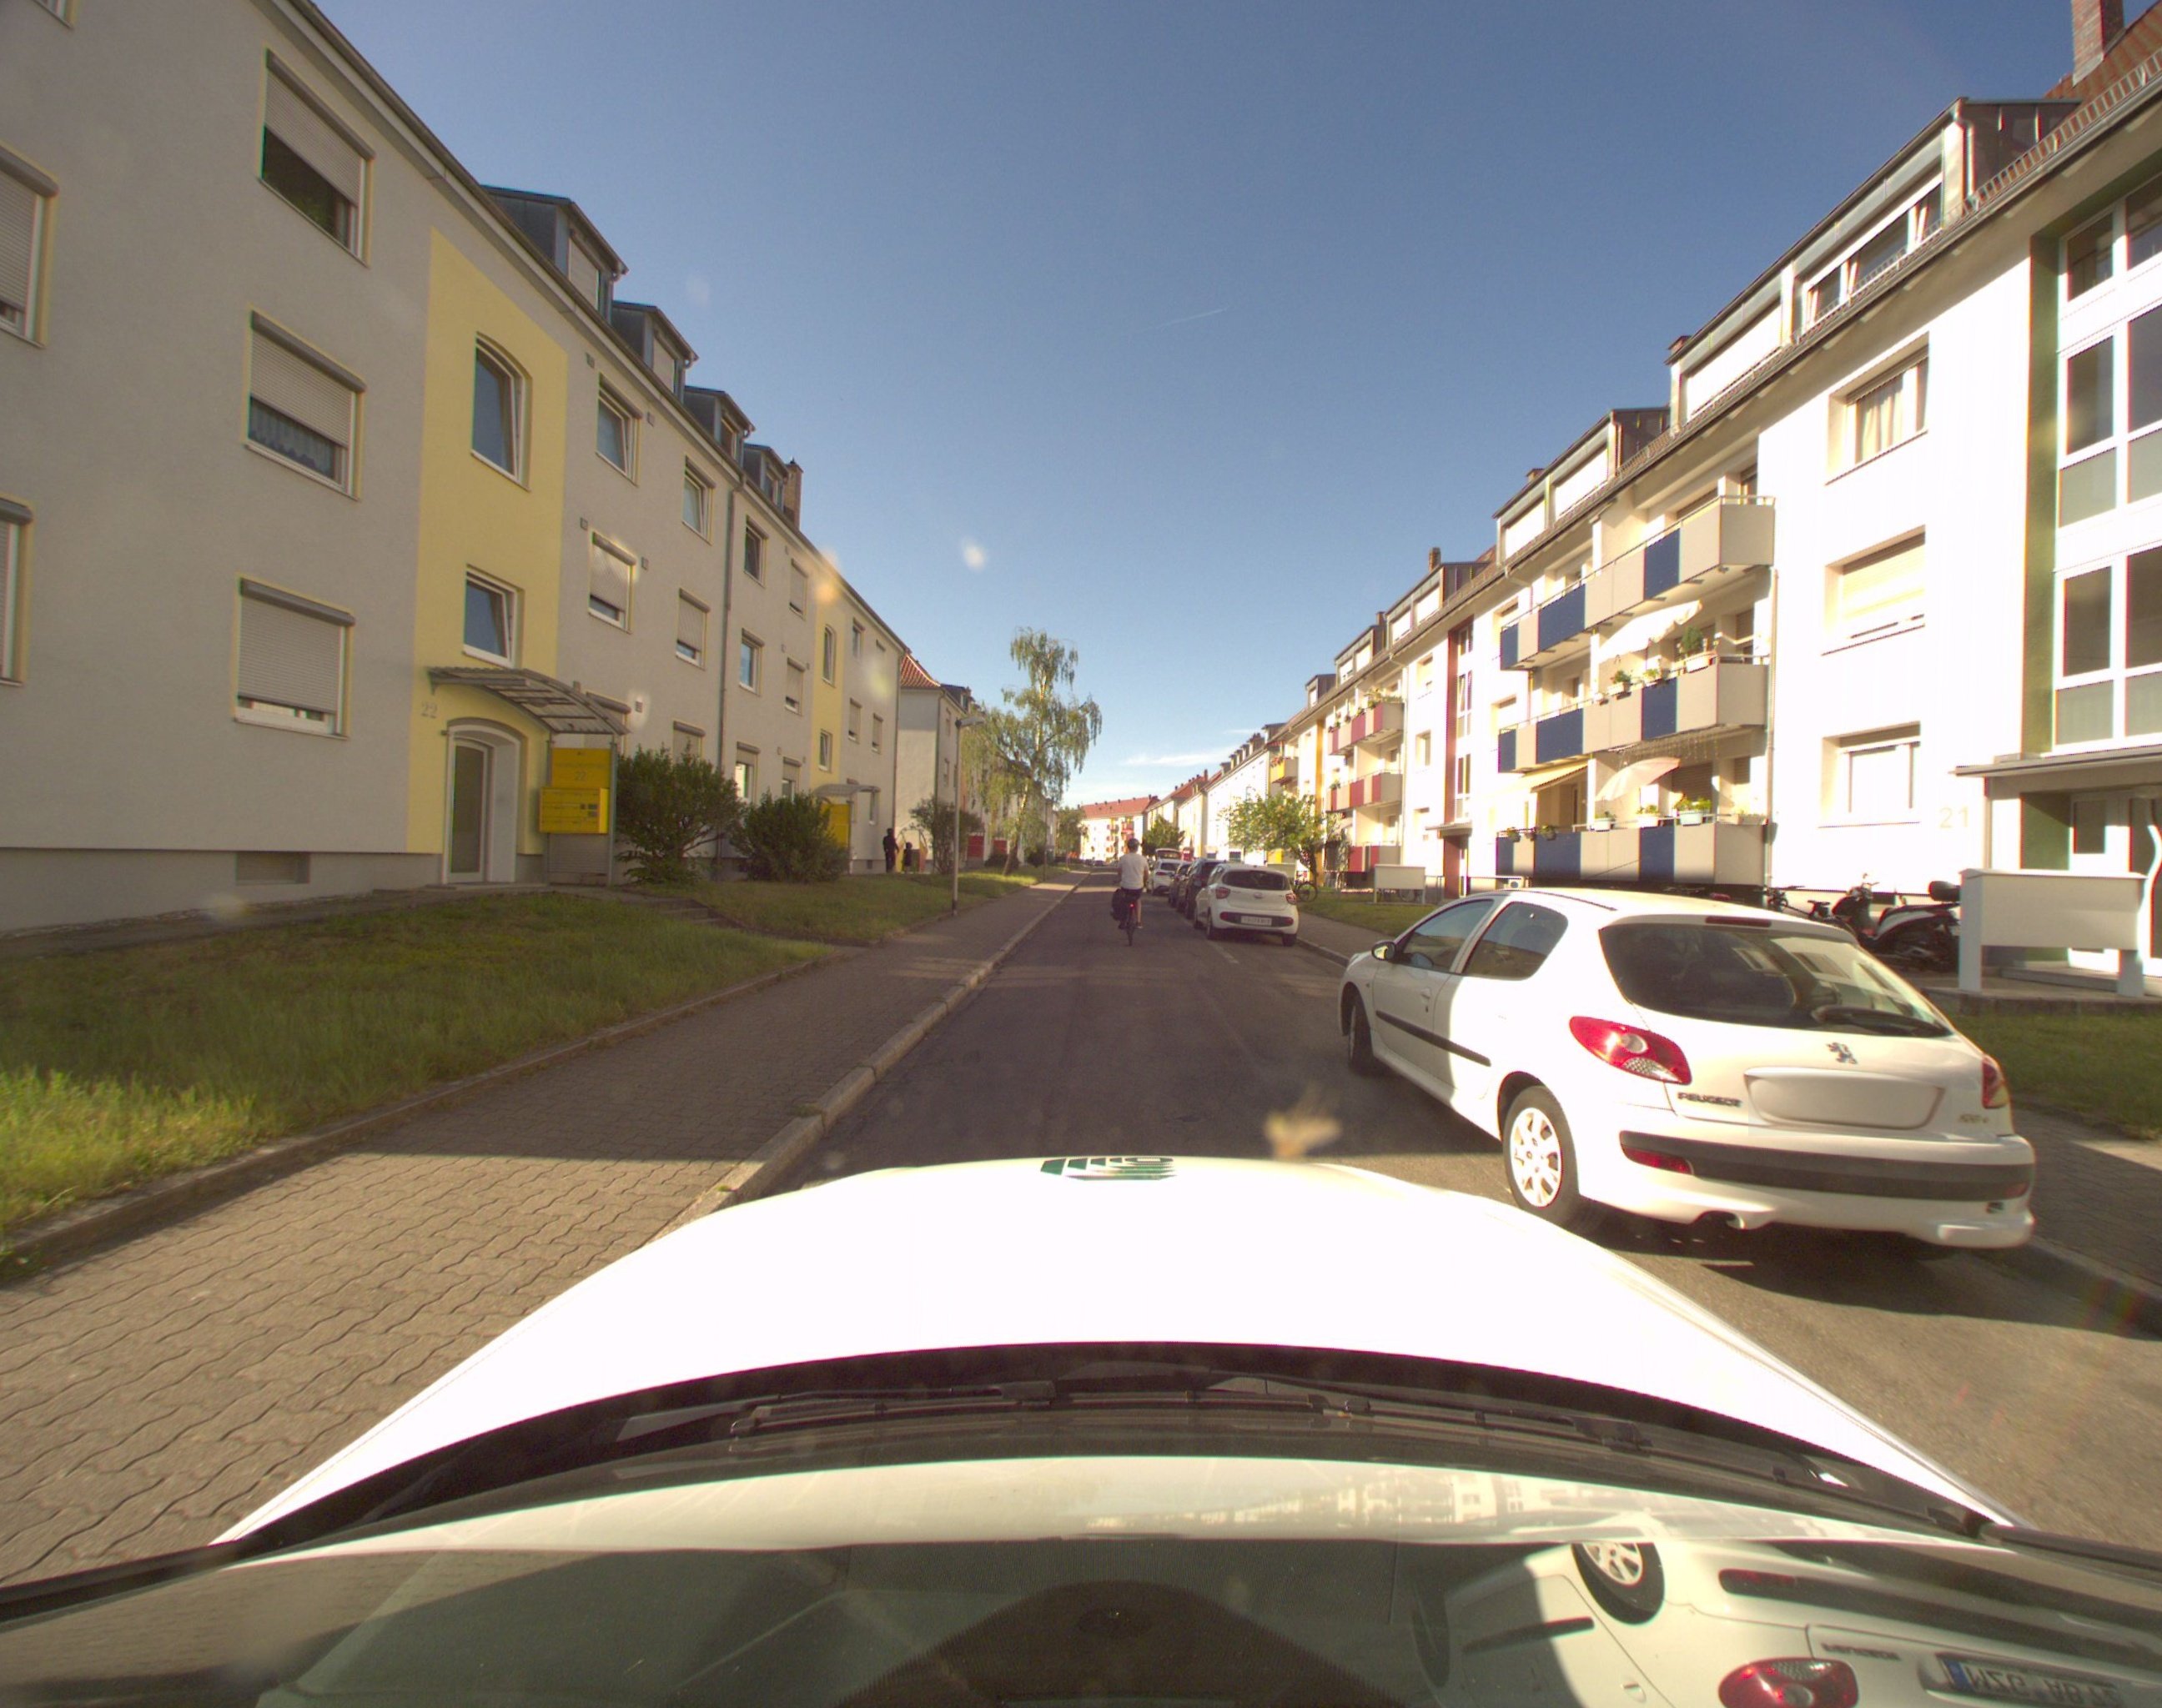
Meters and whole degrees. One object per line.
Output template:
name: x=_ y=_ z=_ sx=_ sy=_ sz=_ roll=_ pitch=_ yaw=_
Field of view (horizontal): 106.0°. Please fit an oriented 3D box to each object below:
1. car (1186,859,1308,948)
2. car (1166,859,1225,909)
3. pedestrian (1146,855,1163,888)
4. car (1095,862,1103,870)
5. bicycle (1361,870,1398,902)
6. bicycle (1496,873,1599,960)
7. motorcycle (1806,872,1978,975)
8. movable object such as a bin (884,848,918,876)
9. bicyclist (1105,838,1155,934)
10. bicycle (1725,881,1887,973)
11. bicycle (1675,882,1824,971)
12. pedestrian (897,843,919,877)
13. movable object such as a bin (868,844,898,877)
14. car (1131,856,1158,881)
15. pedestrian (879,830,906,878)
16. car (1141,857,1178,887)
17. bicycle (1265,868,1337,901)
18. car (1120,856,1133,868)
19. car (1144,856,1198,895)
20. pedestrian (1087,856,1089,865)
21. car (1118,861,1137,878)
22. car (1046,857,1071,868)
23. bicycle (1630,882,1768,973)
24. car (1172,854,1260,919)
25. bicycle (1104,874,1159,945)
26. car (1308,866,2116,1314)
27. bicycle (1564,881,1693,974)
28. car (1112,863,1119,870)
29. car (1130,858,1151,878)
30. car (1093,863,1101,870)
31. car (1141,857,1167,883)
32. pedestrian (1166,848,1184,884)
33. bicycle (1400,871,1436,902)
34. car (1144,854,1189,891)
car: x=3.307 y=0.914 z=16.923 sx=1.707 sy=1.509 sz=3.854 roll=4 pitch=0 yaw=1
car: x=3.763 y=0.953 z=27.275 sx=1.639 sy=1.449 sz=4.065 roll=3 pitch=0 yaw=4
pedestrian: x=3.487 y=0.835 z=38.827 sx=0.737 sy=1.575 sz=0.880 roll=1 pitch=0 yaw=1
car: x=3.415 y=2.312 z=157.480 sx=1.465 sy=1.335 sz=3.140 roll=3 pitch=0 yaw=0
bicycle: x=10.530 y=1.117 z=28.815 sx=0.518 sy=1.049 sz=2.289 roll=-1 pitch=0 yaw=2
bicycle: x=6.933 y=0.893 z=12.201 sx=0.542 sy=1.170 sz=1.874 roll=0 pitch=-1 yaw=3
motorcycle: x=10.990 y=0.892 z=11.144 sx=0.439 sy=1.238 sz=1.977 roll=0 pitch=0 yaw=2
movable object such as a bin: x=-9.066 y=0.387 z=41.069 sx=1.382 sy=1.336 sz=1.228 roll=3 pitch=0 yaw=1
bicyclist: x=0.858 y=0.547 z=14.440 sx=0.806 sy=1.643 sz=0.898 roll=1 pitch=-1 yaw=-1
bicycle: x=10.002 y=0.958 z=11.338 sx=0.594 sy=1.116 sz=1.873 roll=-1 pitch=0 yaw=1
bicycle: x=9.280 y=0.962 z=11.409 sx=0.536 sy=1.082 sz=1.873 roll=-1 pitch=0 yaw=1
pedestrian: x=-6.765 y=0.239 z=31.927 sx=0.683 sy=1.317 sz=0.576 roll=1 pitch=-1 yaw=2
movable object such as a bin: x=-8.837 y=0.288 z=36.338 sx=1.080 sy=1.406 sz=0.813 roll=2 pitch=0 yaw=2
car: x=4.715 y=1.053 z=60.950 sx=1.776 sy=1.648 sz=4.471 roll=3 pitch=0 yaw=3
pedestrian: x=-7.286 y=-0.007 z=31.455 sx=0.802 sy=1.824 sz=0.718 roll=1 pitch=-1 yaw=2
car: x=4.398 y=0.982 z=46.297 sx=1.688 sy=1.491 sz=3.984 roll=3 pitch=0 yaw=1
bicycle: x=7.896 y=1.082 z=29.299 sx=2.410 sy=1.130 sz=0.881 roll=1 pitch=-1 yaw=7
car: x=7.017 y=1.158 z=124.996 sx=1.669 sy=1.739 sz=3.942 roll=3 pitch=0 yaw=0
car: x=3.815 y=0.880 z=35.060 sx=1.766 sy=1.505 sz=4.480 roll=2 pitch=0 yaw=0
pedestrian: x=1.303 y=1.249 z=153.877 sx=0.432 sy=1.574 sz=0.543 roll=1 pitch=-1 yaw=1
car: x=5.155 y=1.687 z=90.352 sx=1.855 sy=1.668 sz=4.128 roll=3 pitch=0 yaw=2
car: x=-3.924 y=1.446 z=139.189 sx=4.221 sy=1.638 sz=1.581 roll=1 pitch=0 yaw=-3
bicycle: x=8.566 y=0.976 z=11.393 sx=0.542 sy=1.120 sz=1.873 roll=0 pitch=0 yaw=1
car: x=3.540 y=0.811 z=22.037 sx=1.717 sy=1.578 sz=4.353 roll=1 pitch=0 yaw=1
bicycle: x=0.857 y=0.935 z=14.381 sx=0.806 sy=1.128 sz=2.101 roll=1 pitch=0 yaw=-1
car: x=2.782 y=0.853 z=4.898 sx=1.685 sy=1.418 sz=4.098 roll=4 pitch=0 yaw=1
bicycle: x=7.618 y=0.979 z=11.442 sx=0.575 sy=1.132 sz=1.873 roll=0 pitch=0 yaw=1
car: x=7.445 y=2.719 z=174.209 sx=1.377 sy=1.497 sz=3.076 roll=1 pitch=0 yaw=0
car: x=4.805 y=1.129 z=66.048 sx=1.635 sy=1.498 sz=4.159 roll=1 pitch=0 yaw=3
car: x=3.112 y=2.450 z=162.161 sx=1.464 sy=1.335 sz=3.140 roll=1 pitch=0 yaw=0
car: x=4.546 y=0.981 z=50.772 sx=1.472 sy=1.529 sz=2.945 roll=4 pitch=0 yaw=6
pedestrian: x=4.497 y=0.569 z=39.020 sx=0.816 sy=1.687 sz=0.604 roll=0 pitch=0 yaw=1
bicycle: x=11.836 y=1.127 z=28.662 sx=0.518 sy=1.037 sz=1.976 roll=0 pitch=0 yaw=2
car: x=4.252 y=0.896 z=41.219 sx=1.985 sy=1.613 sz=5.000 roll=3 pitch=0 yaw=4
